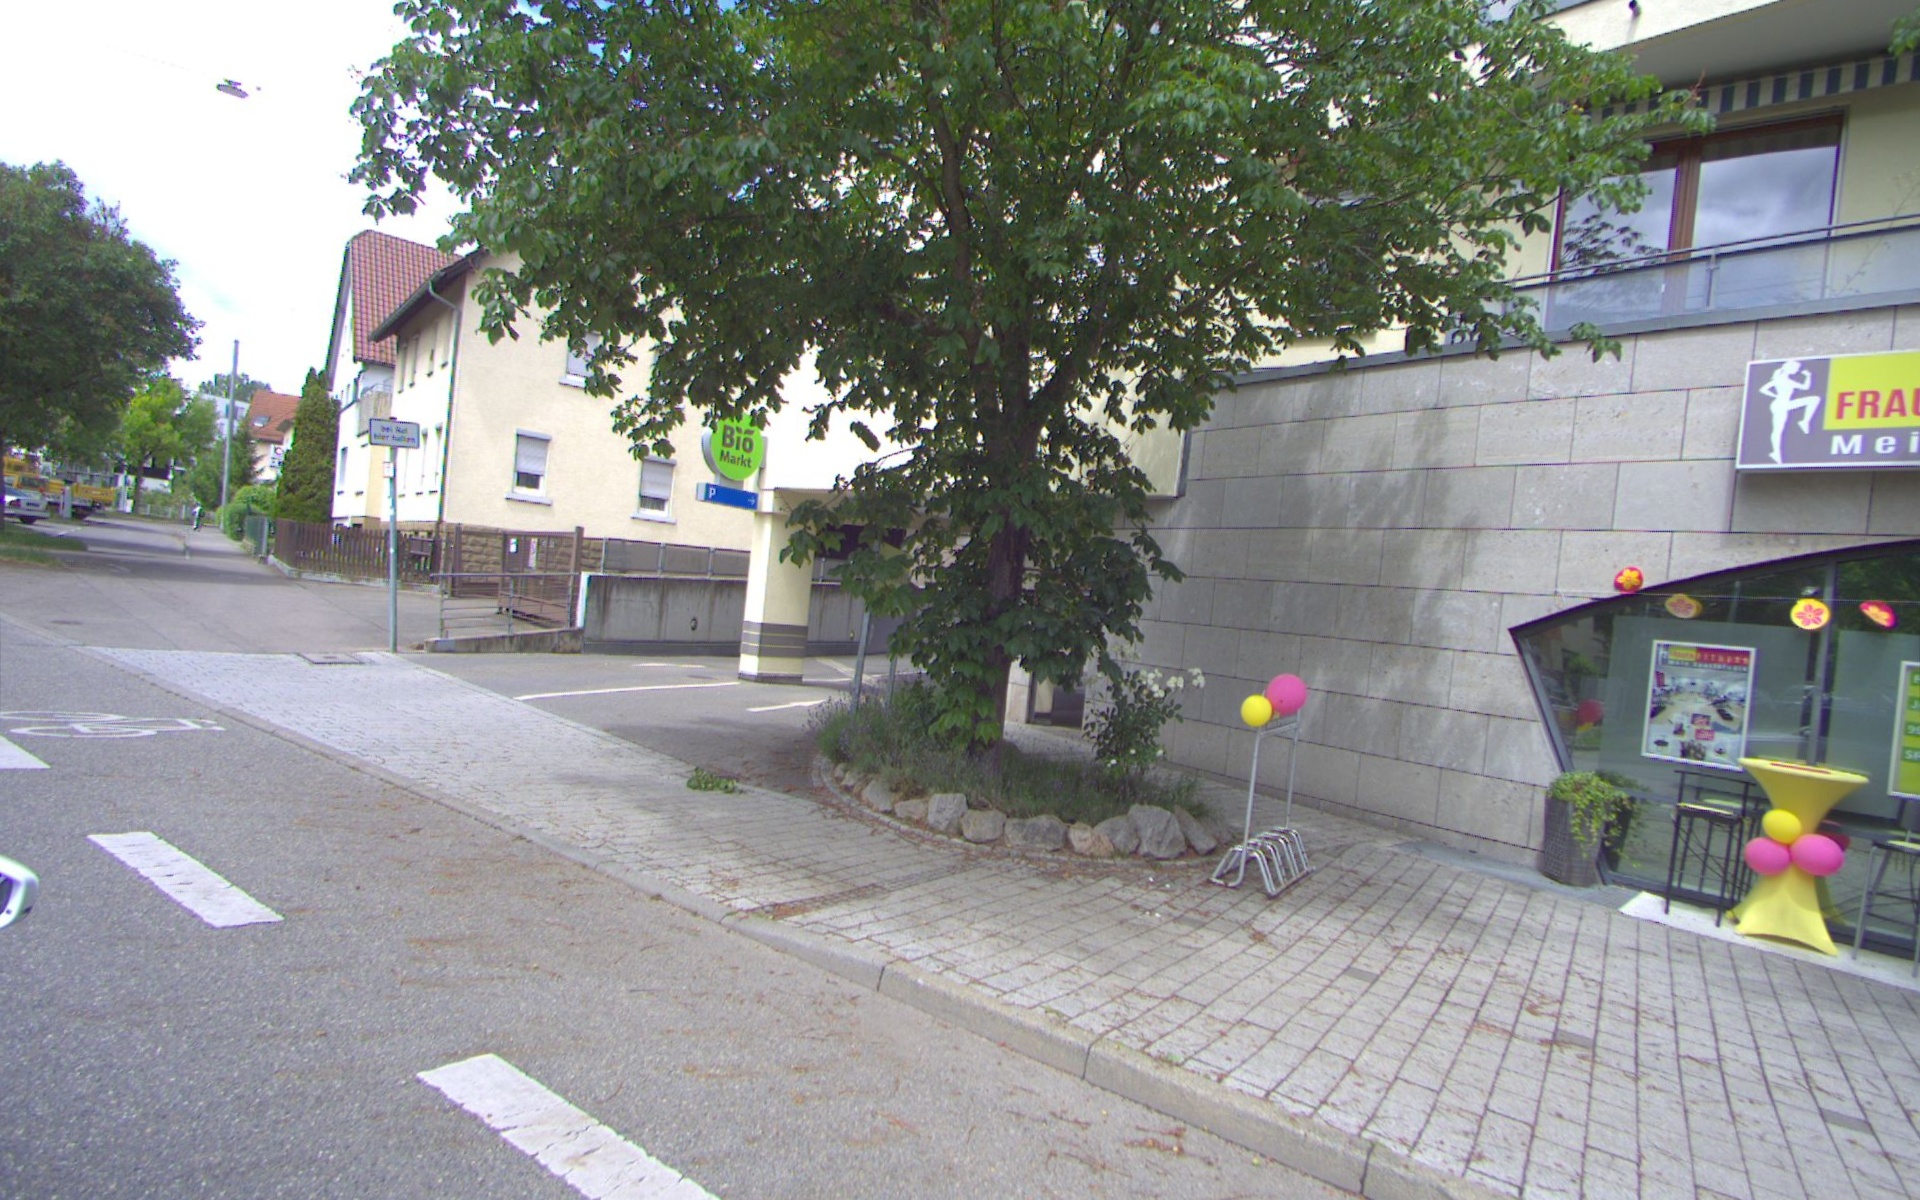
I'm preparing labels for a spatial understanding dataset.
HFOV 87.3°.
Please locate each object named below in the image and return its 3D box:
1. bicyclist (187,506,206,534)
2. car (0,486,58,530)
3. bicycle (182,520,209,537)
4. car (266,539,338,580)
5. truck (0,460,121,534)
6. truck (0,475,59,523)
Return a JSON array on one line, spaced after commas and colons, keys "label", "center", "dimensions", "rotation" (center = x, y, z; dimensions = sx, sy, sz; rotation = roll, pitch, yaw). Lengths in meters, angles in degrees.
[{"label": "bicyclist", "center": [-45.413, -4.767, 59.837], "dimensions": [0.557, 1.577, 0.590], "rotation": [6, -2, 31]}, {"label": "car", "center": [-39.224, -3.909, 40.220], "dimensions": [4.603, 1.469, 1.768], "rotation": [7, 0, 0]}, {"label": "bicycle", "center": [-45.483, -4.274, 59.834], "dimensions": [1.725, 0.821, 0.595], "rotation": [6, -2, 31]}, {"label": "car", "center": [-22.957, -1.427, 35.029], "dimensions": [1.457, 1.137, 3.827], "rotation": [9, -3, -41]}, {"label": "truck", "center": [-49.638, -5.645, 53.928], "dimensions": [6.585, 3.042, 2.771], "rotation": [8, -2, -2]}, {"label": "truck", "center": [-49.446, -5.382, 50.881], "dimensions": [5.576, 2.036, 2.001], "rotation": [8, -2, -3]}]
